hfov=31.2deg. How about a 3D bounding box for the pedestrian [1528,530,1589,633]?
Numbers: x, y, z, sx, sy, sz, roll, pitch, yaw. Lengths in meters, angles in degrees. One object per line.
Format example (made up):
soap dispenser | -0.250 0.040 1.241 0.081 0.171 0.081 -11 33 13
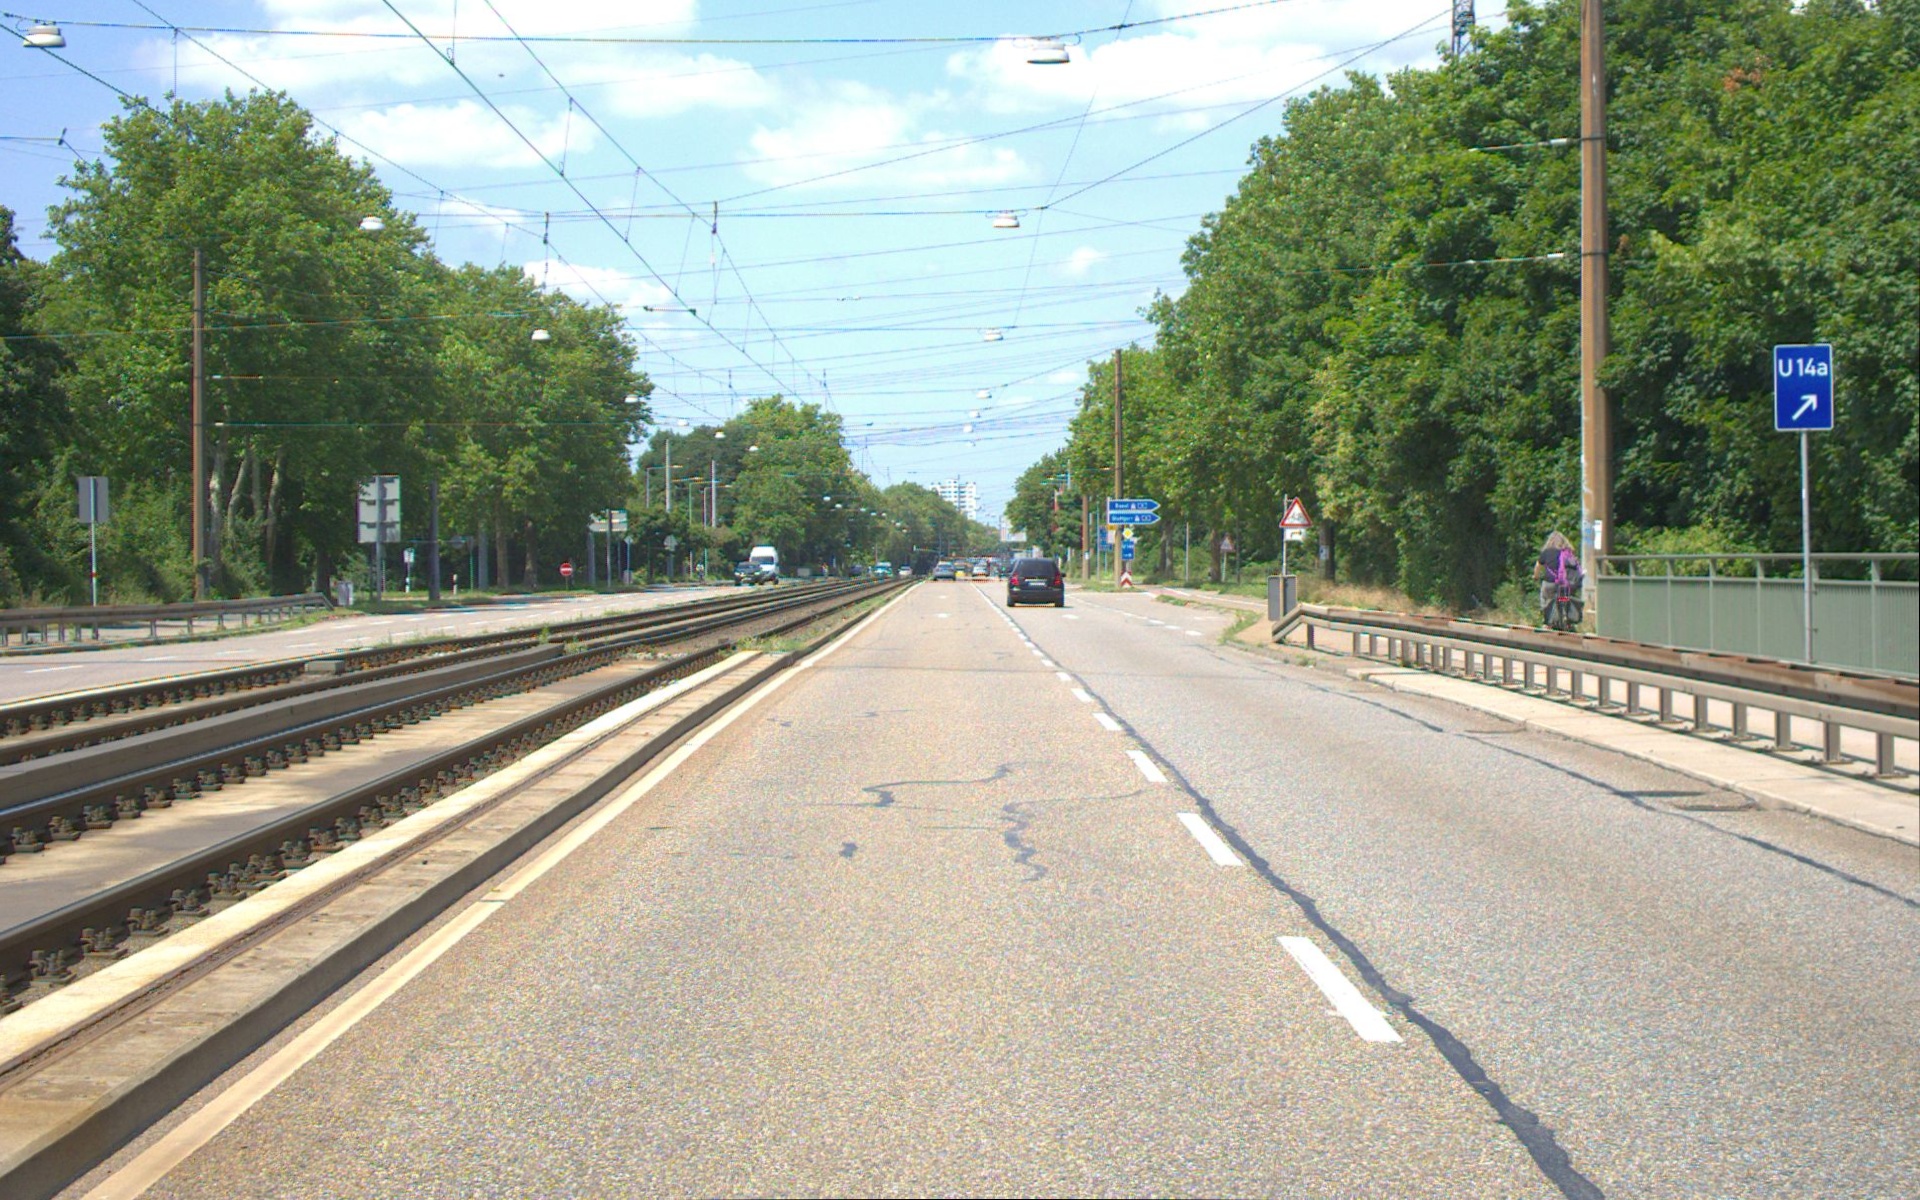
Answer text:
pedestrian | 8.032 -0.249 46.179 0.628 1.369 1.050 0 0 0

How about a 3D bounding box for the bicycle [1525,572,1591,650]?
bicycle | 8.035 0.142 46.273 0.559 1.021 1.848 0 0 0

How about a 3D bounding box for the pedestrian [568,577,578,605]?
pedestrian | -21.895 -0.516 194.709 0.513 1.546 0.704 -1 0 -5

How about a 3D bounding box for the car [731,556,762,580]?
car | -14.367 -2.157 231.538 1.817 1.509 4.428 -1 1 0

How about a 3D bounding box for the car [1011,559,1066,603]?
car | 2.476 -0.623 109.406 1.586 1.338 3.273 -1 1 -1
